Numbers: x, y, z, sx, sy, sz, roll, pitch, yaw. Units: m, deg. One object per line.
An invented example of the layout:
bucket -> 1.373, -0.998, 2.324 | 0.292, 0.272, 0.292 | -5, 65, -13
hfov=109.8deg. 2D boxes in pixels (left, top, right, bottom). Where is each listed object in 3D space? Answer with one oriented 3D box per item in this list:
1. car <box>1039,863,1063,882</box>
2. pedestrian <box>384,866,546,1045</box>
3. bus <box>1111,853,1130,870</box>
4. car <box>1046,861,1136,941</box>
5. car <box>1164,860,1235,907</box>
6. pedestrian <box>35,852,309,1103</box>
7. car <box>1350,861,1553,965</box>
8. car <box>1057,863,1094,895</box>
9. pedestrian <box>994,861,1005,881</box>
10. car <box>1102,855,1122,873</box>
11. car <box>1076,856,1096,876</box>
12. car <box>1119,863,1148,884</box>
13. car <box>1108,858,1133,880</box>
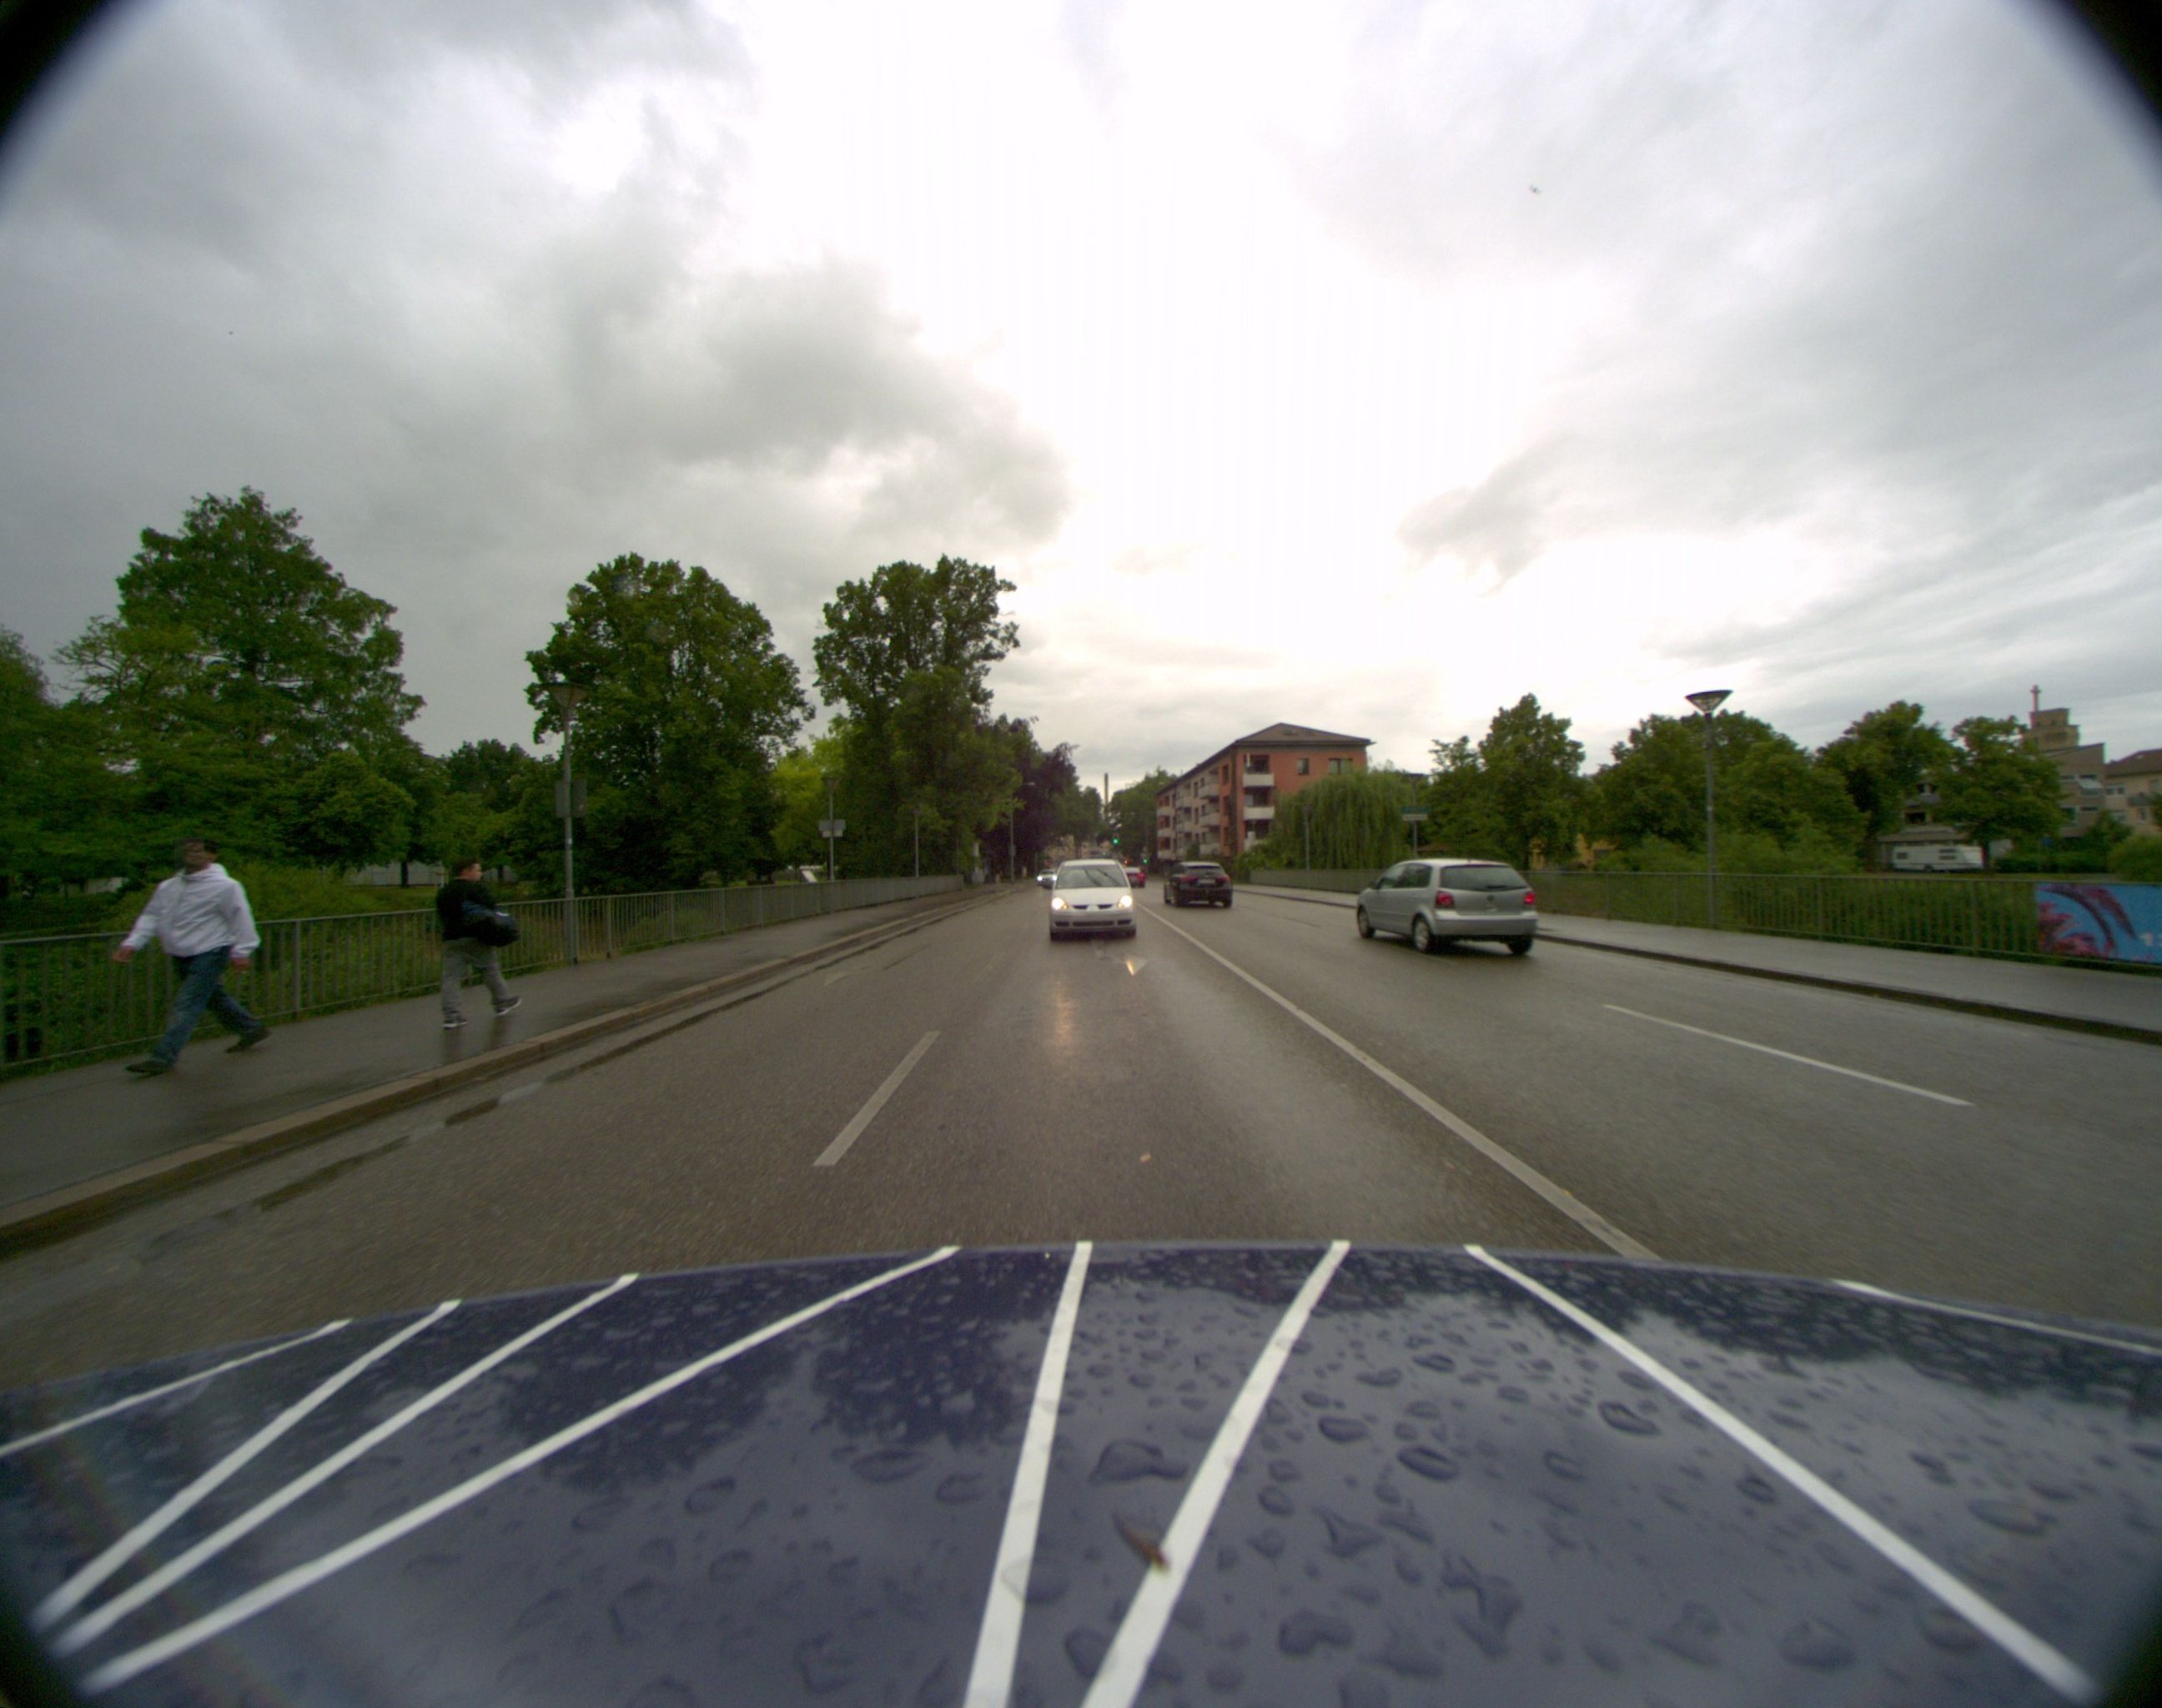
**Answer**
car -> -2.729, 1.673, 69.829 | 1.906, 1.537, 4.000 | -1, 0, 1
pedestrian -> -5.901, 0.931, 7.334 | 0.865, 1.609, 0.839 | 0, 0, 0
bus -> 7.063, 1.323, 136.238 | 2.700, 2.922, 12.084 | 0, 0, 0
car -> 0.181, 0.937, 17.247 | 1.718, 1.508, 4.807 | -2, -1, 0
car -> 3.821, 0.913, 25.196 | 1.714, 1.408, 4.094 | 0, 0, 0
pedestrian -> -6.884, 0.866, 5.839 | 0.781, 1.742, 1.060 | -1, 0, 0
car -> 5.922, 0.851, 12.647 | 1.630, 1.411, 3.686 | -1, 0, 1
car -> -0.282, 1.253, 38.863 | 1.718, 1.508, 4.088 | -2, -1, 0
pedestrian -> -7.169, 1.497, 67.115 | 0.850, 1.666, 1.167 | 1, 0, 0
car -> 4.031, 1.384, 100.439 | 2.295, 2.294, 6.510 | 0, -1, 0
car -> 0.556, 1.288, 82.314 | 2.037, 2.119, 4.000 | -1, 0, 1
car -> 3.635, 1.361, 53.329 | 1.786, 1.394, 4.219 | 0, -1, 0
car -> 3.245, 1.230, 63.754 | 1.893, 1.724, 4.371 | 0, -1, 0
